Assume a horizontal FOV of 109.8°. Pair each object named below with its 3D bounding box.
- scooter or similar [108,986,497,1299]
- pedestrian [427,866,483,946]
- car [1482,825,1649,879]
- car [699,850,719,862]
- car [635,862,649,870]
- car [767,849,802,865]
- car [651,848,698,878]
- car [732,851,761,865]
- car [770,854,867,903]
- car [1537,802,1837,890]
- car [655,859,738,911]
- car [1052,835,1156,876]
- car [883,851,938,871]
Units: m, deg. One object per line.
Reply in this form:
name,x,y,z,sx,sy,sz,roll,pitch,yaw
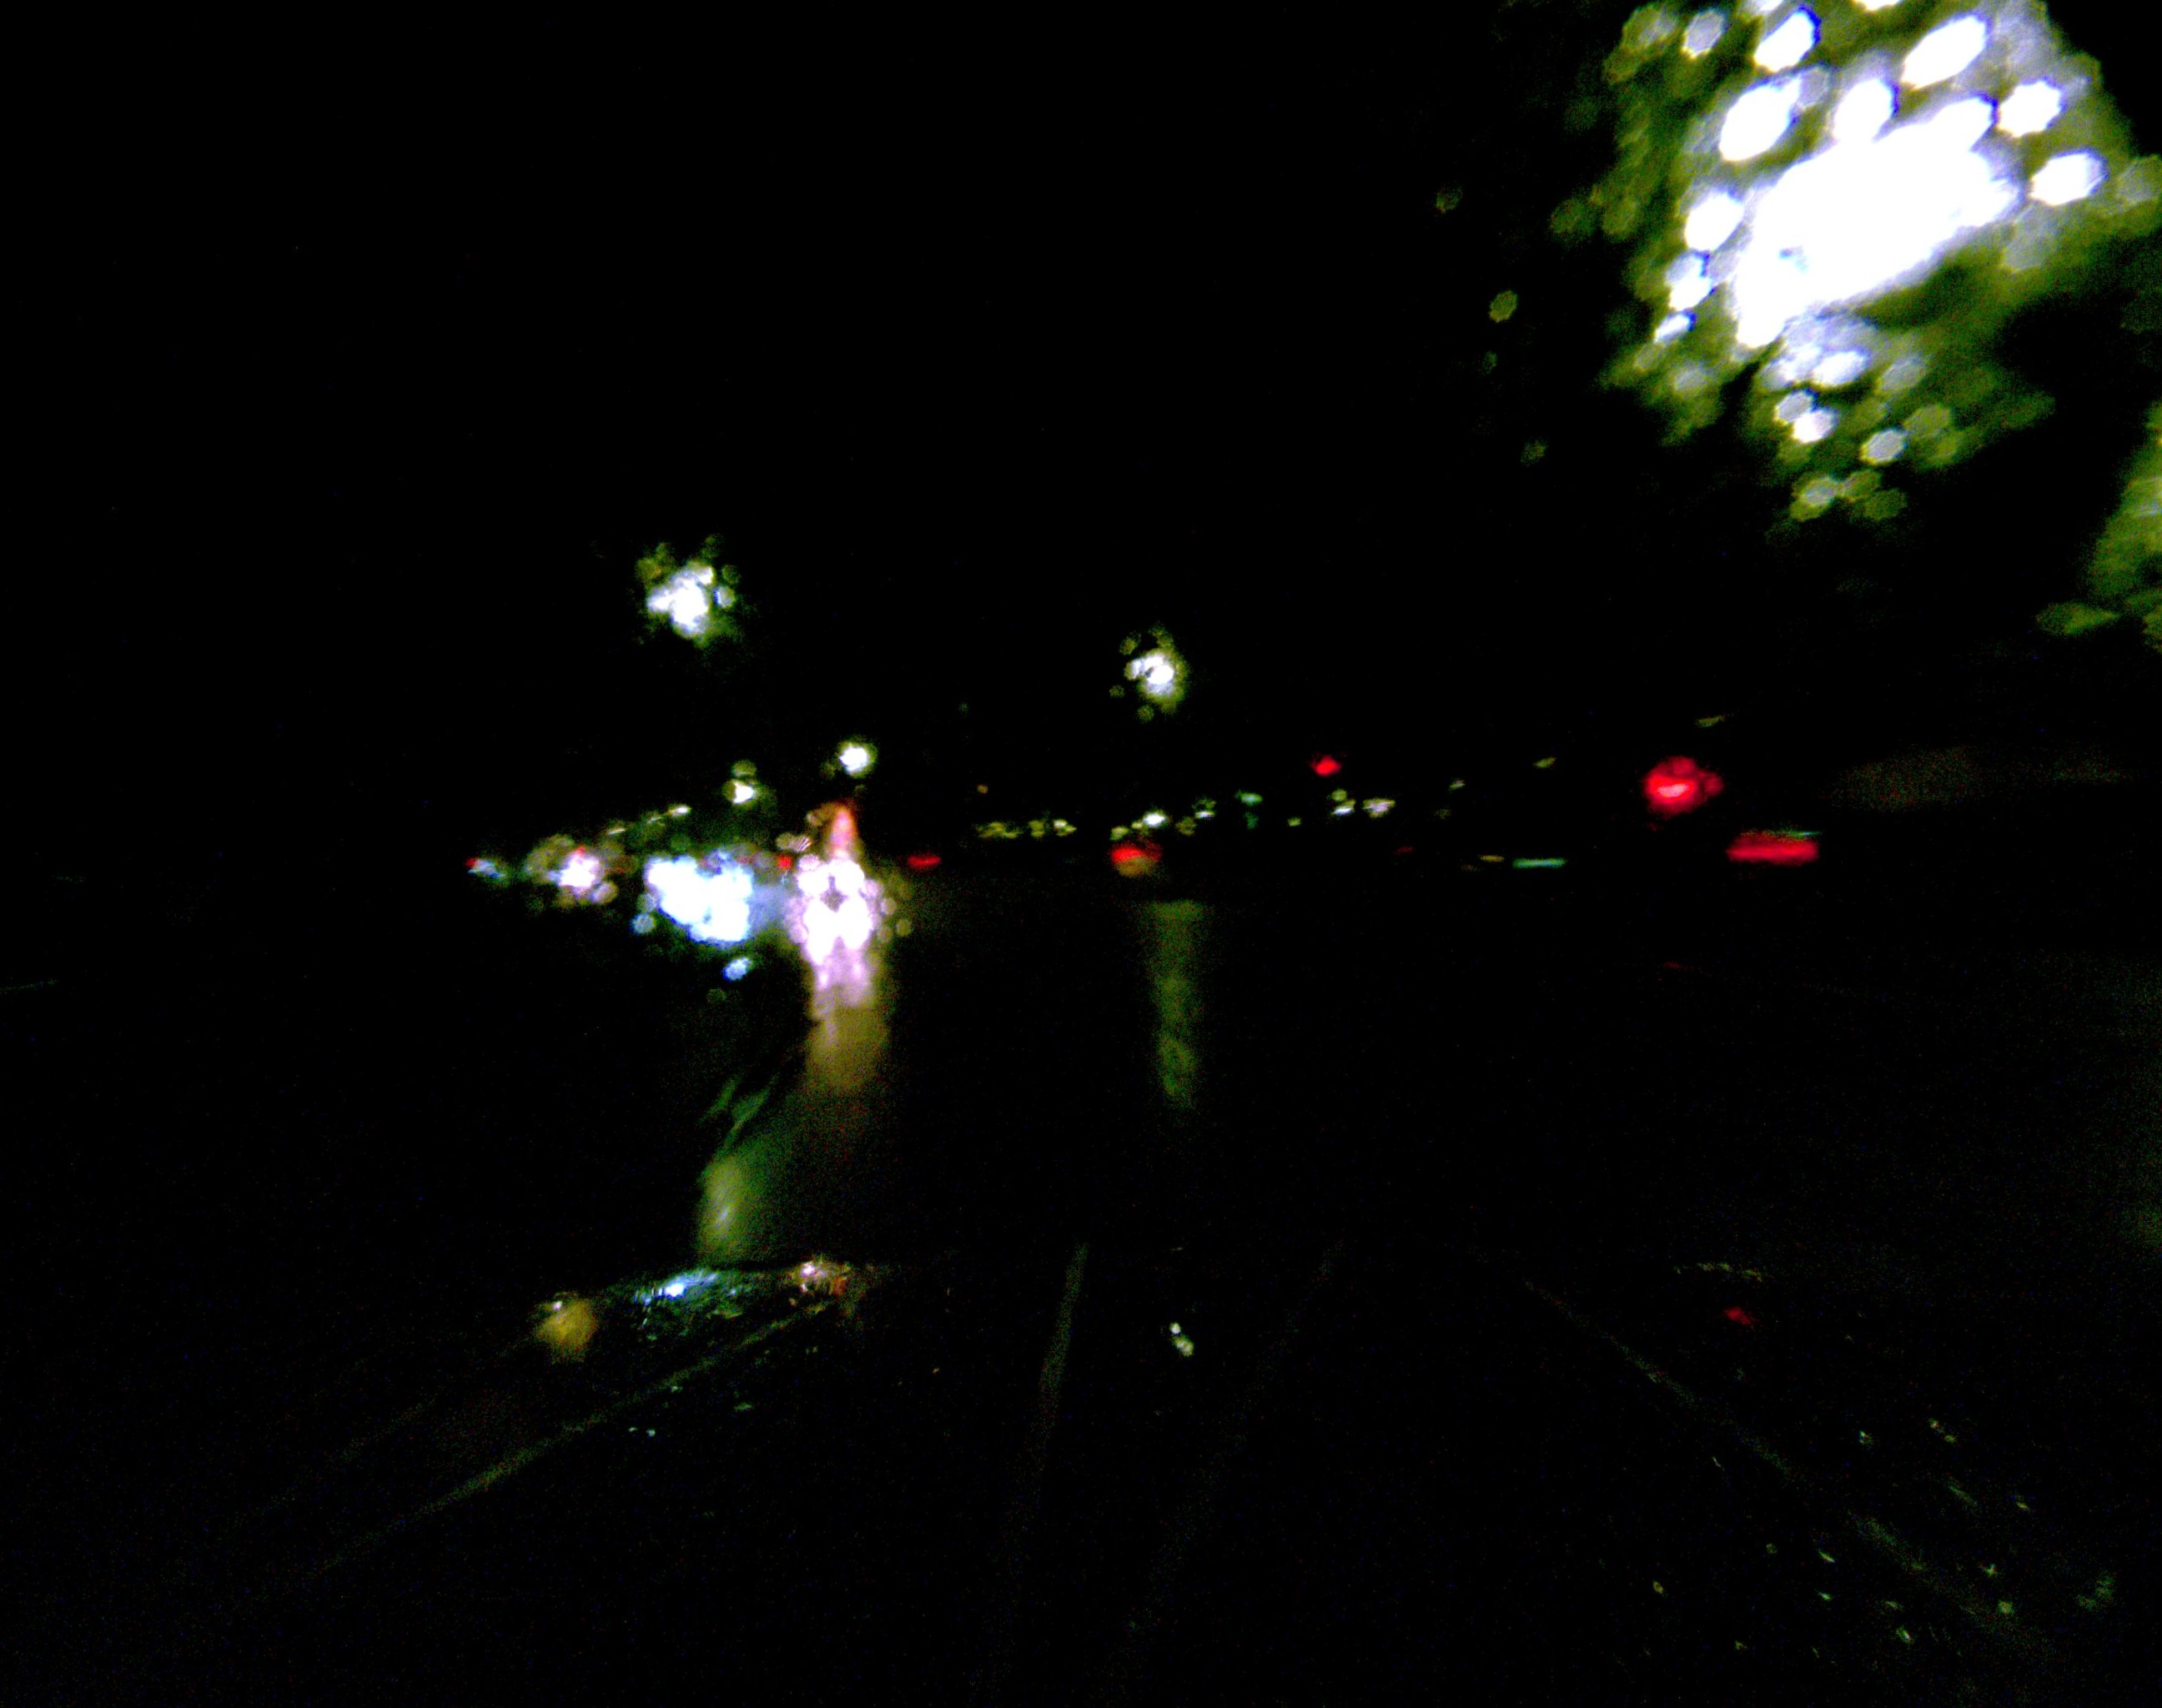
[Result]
scooter or similar,-3.164,1.151,3.155,1.104,1.091,0.317,-2,2,-9
pedestrian,-12.423,1.012,15.099,0.729,1.477,0.834,-5,3,-38
car,15.675,-0.044,24.758,4.405,1.532,2.003,-2,3,33
car,-56.832,0.290,115.955,1.838,1.704,4.428,-5,3,-38
car,-96.550,2.618,167.145,2.034,1.674,4.535,-5,3,-38
car,-29.170,0.287,74.704,1.838,1.456,4.646,-5,3,-39
car,-25.526,0.525,47.659,1.838,1.697,4.183,-5,3,-37
car,-38.057,0.477,86.363,1.838,1.456,3.989,-5,3,-40
car,-9.720,0.838,27.927,1.838,1.518,4.861,-5,3,-37
car,13.588,-0.155,17.419,5.117,1.722,2.066,-1,3,39
car,-14.708,1.108,28.956,1.955,1.710,4.430,-5,3,-37
car,0.990,0.072,35.789,2.073,1.706,5.027,-5,3,-38
car,-13.425,0.529,59.688,2.003,1.394,5.335,-5,3,-39
